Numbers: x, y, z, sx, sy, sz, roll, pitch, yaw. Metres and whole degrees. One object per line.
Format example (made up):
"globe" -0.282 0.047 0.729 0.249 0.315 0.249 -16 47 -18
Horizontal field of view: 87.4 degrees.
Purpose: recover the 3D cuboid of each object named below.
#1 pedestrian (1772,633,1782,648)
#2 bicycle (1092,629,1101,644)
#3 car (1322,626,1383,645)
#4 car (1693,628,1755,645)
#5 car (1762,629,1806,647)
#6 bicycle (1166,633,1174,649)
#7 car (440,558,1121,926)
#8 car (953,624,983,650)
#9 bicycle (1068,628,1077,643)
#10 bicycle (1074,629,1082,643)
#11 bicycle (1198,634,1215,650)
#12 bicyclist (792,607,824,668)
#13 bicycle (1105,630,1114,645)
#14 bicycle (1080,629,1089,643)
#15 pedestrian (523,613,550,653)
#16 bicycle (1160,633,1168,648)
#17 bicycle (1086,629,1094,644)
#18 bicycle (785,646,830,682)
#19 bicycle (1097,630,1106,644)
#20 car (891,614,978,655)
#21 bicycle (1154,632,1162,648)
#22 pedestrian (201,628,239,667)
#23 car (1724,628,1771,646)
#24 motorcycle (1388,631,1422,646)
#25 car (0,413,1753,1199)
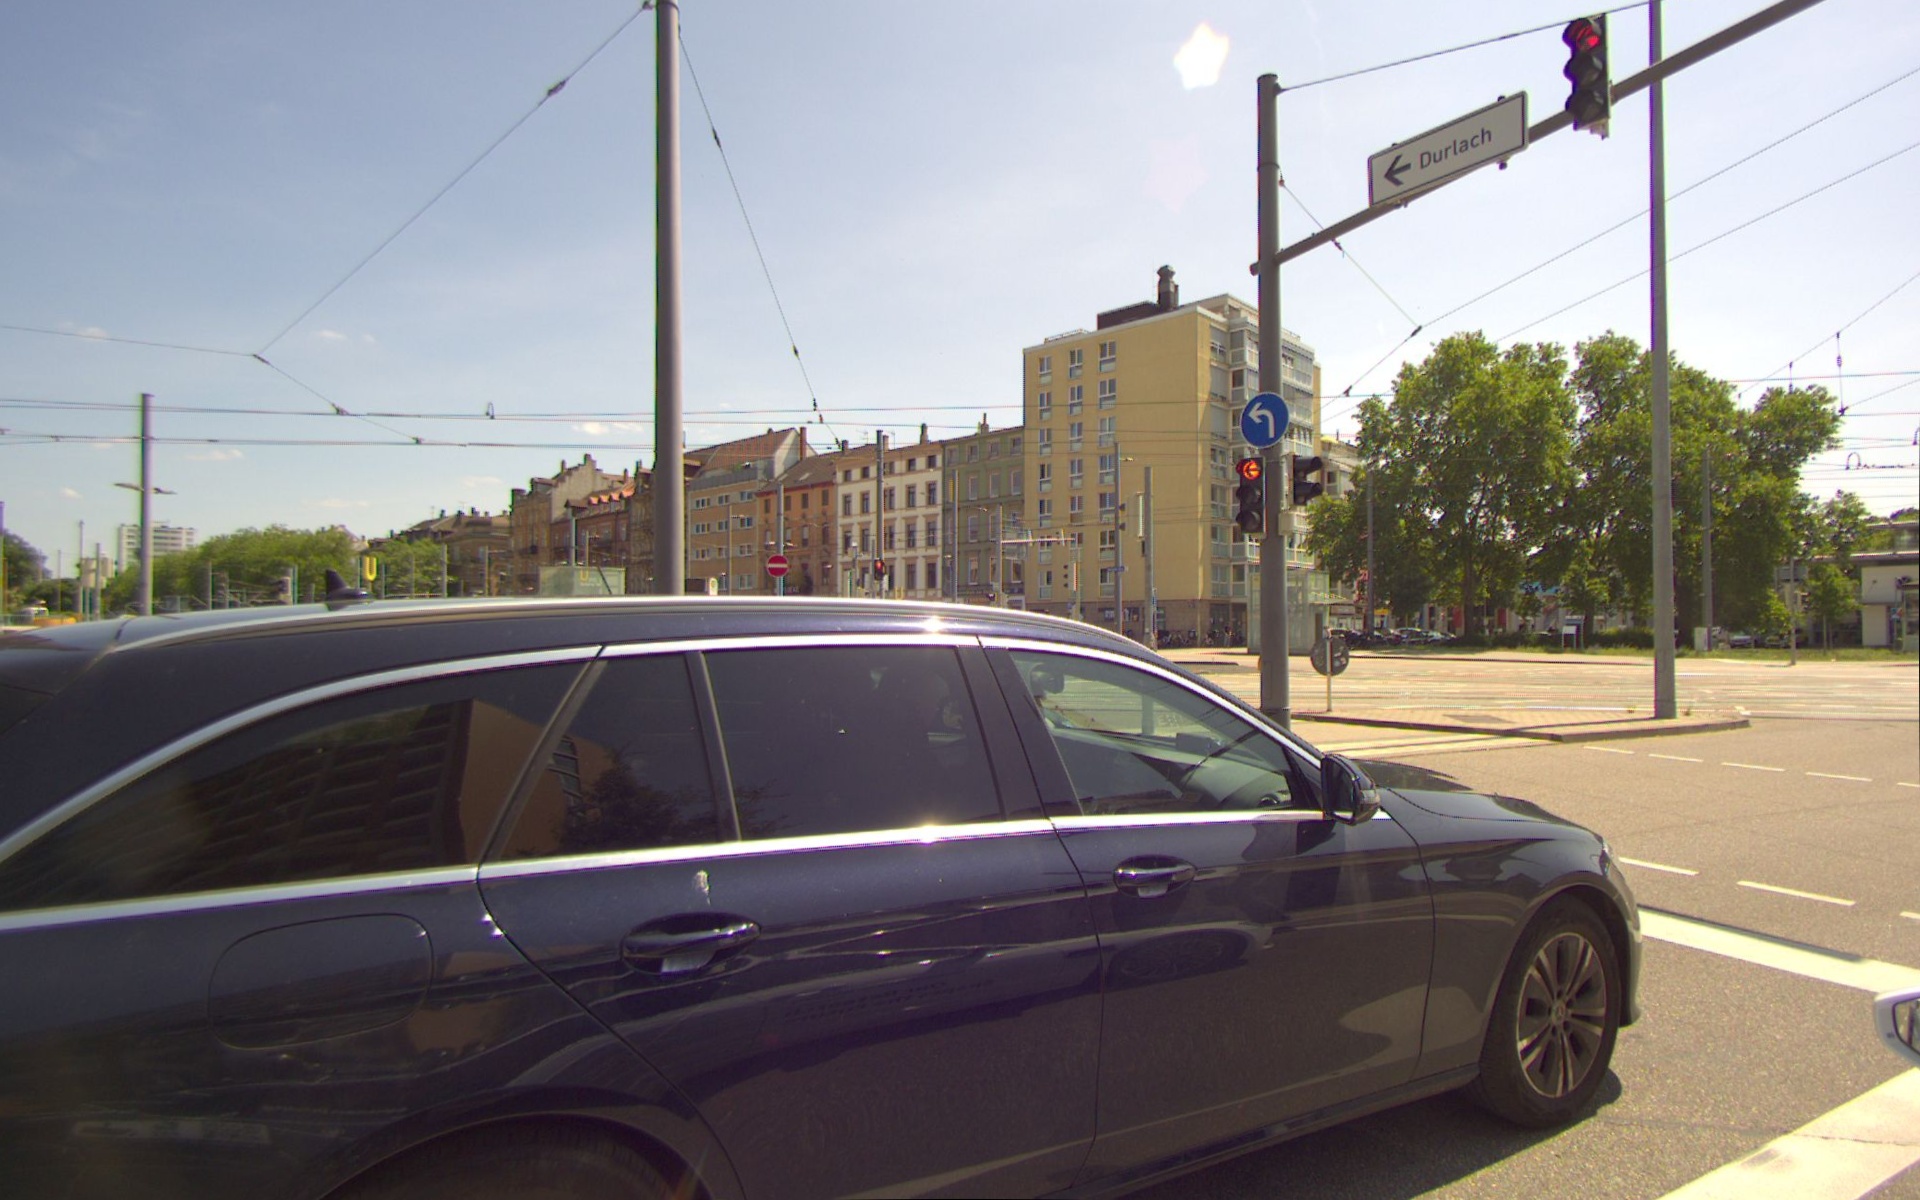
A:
"pedestrian" 66.583 3.267 81.851 0.439 1.220 0.511 1 -1 -24
"bicycle" 9.929 2.667 72.976 0.424 1.040 1.445 0 -1 16
"car" 29.765 2.684 76.272 3.937 1.439 1.992 -1 -2 38
"car" 70.924 3.392 93.311 4.245 1.530 1.771 -1 -2 26
"car" 69.178 3.176 84.358 4.283 1.530 1.756 1 -2 -35
"bicycle" 14.361 2.782 68.568 0.424 1.040 1.445 0 -1 16
"car" -1.023 0.661 6.047 3.692 1.597 1.736 1 -2 -30
"car" 0.552 2.567 70.467 1.803 1.773 3.998 0 -1 -4
"bicycle" 8.357 2.625 74.357 0.424 1.040 1.445 0 -1 16
"bicycle" 8.699 2.634 74.018 0.424 1.040 1.445 0 -1 16
"bicycle" 16.775 2.857 68.299 0.427 1.040 1.435 -1 -2 44
"bicyclist" -4.008 0.964 26.502 0.433 1.549 1.245 2 0 -26
"bicycle" 10.763 2.689 72.320 0.424 1.040 1.445 0 -1 16
"bicycle" 9.126 2.645 73.581 0.424 1.040 1.445 0 -1 16
"pedestrian" -19.599 1.507 46.503 1.114 1.837 0.677 -1 -2 38
"bicycle" 13.992 2.771 68.833 0.424 1.040 1.445 0 -1 16
"bicycle" 9.487 2.654 73.272 0.424 1.040 1.445 0 -1 16
"bicycle" -4.035 1.667 26.458 0.620 0.866 1.887 1 -2 -26
"bicycle" 10.245 2.674 72.579 0.424 1.040 1.445 0 -1 16
"car" -1.424 1.823 53.950 1.987 2.084 4.807 1 -2 -44
"bicycle" 13.617 2.761 69.144 0.424 1.040 1.445 0 -1 16
"pedestrian" -26.442 1.692 35.900 0.978 1.352 0.527 0 -1 2
"car" 68.246 3.210 87.027 4.274 1.530 1.759 1 -2 -29
"motorcycle" 28.003 2.417 63.210 1.887 0.974 0.524 -1 -1 31
"car" 0.070 0.642 2.861 4.747 1.662 1.789 1 0 -30
